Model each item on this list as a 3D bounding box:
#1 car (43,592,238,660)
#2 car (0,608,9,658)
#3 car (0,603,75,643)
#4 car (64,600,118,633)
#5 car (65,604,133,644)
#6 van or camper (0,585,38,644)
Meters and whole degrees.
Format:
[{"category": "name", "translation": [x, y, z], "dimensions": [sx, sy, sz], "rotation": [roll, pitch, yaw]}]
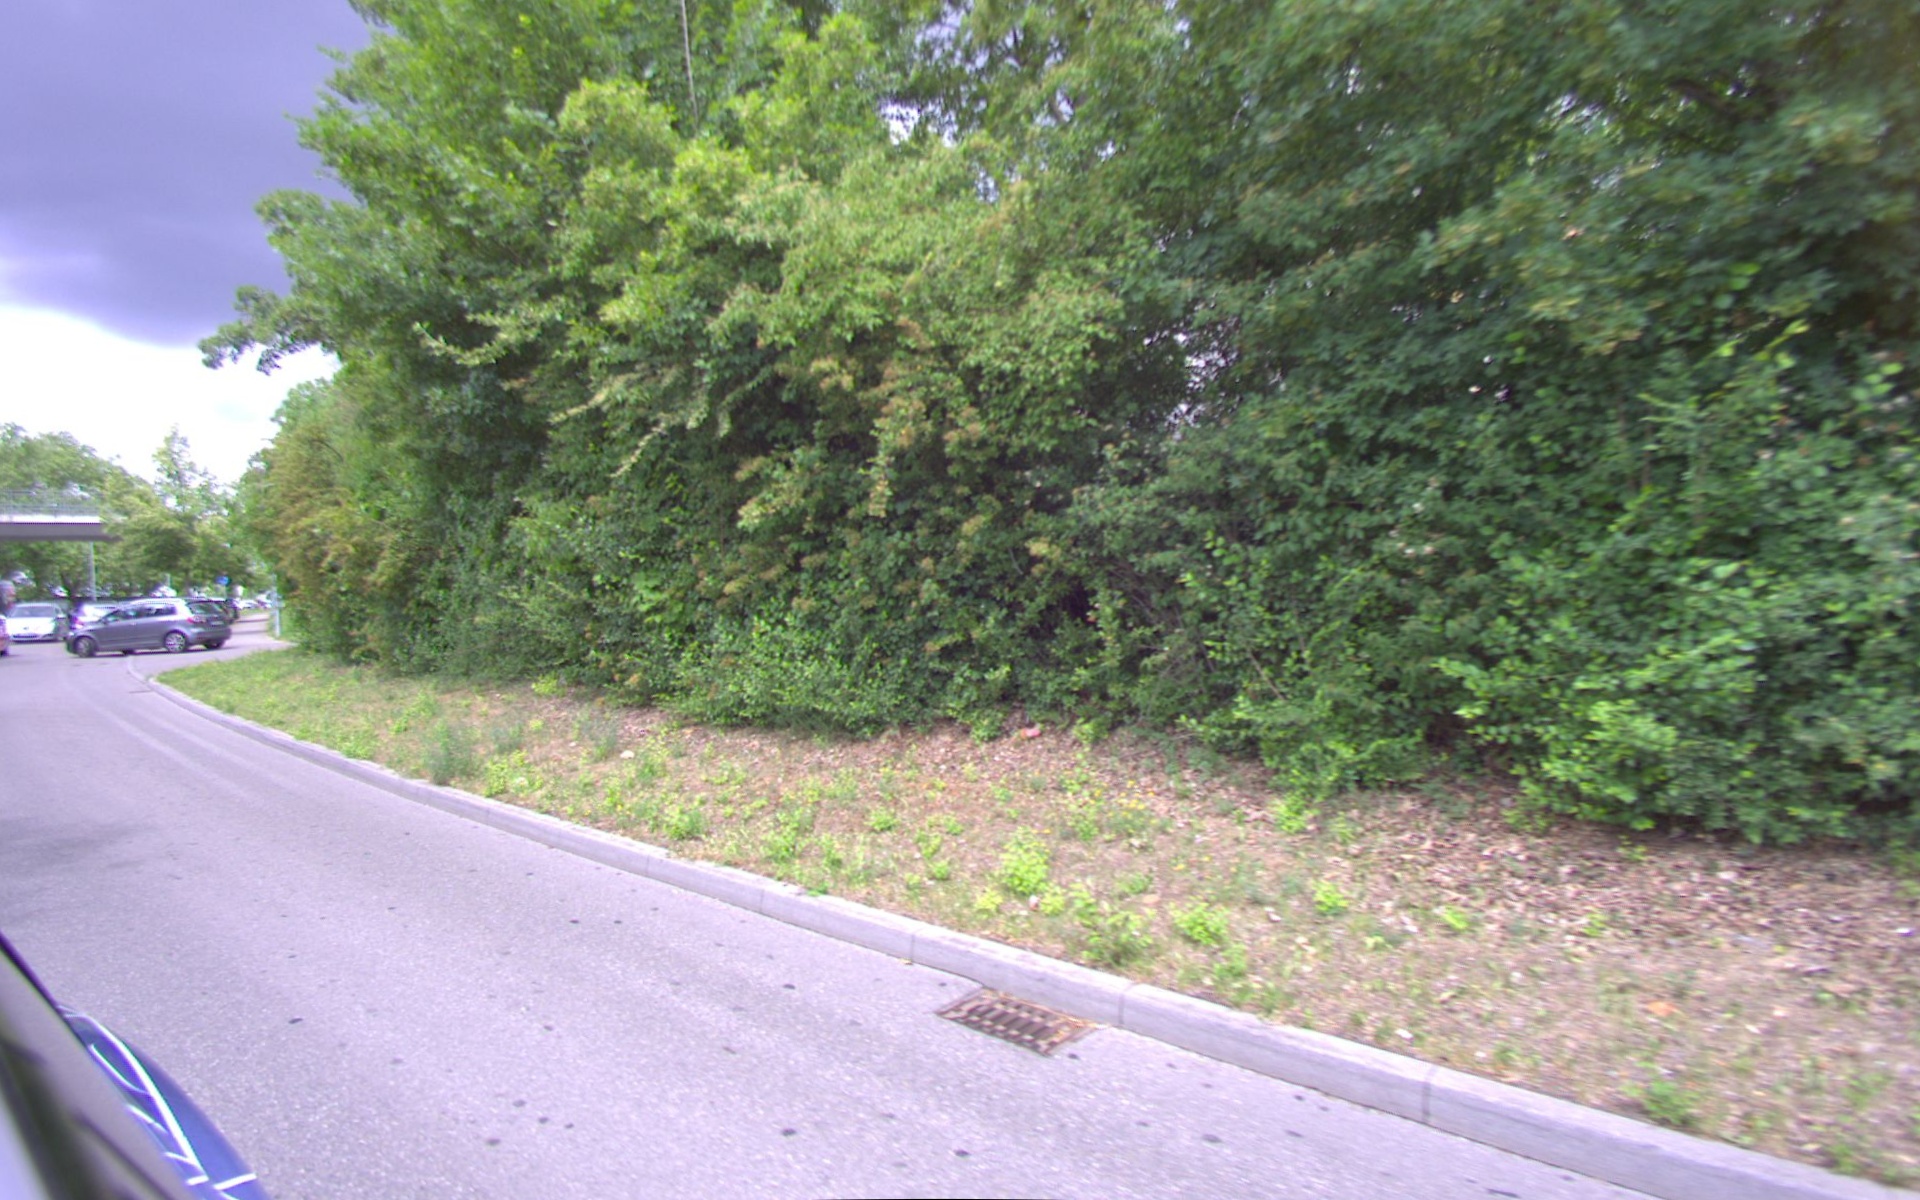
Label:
[{"category": "car", "translation": [-23.932, 0.727, 29.703], "dimensions": [4.054, 1.674, 1.761], "rotation": [-3, 1, -8]}, {"category": "car", "translation": [-29.156, 0.988, 29.479], "dimensions": [1.834, 1.453, 4.007], "rotation": [-2, 1, -40]}, {"category": "car", "translation": [-37.260, 0.905, 40.818], "dimensions": [1.752, 1.463, 4.011], "rotation": [-1, 1, -33]}, {"category": "car", "translation": [-46.501, 0.915, 54.216], "dimensions": [1.752, 1.431, 4.009], "rotation": [5, -7, -36]}, {"category": "car", "translation": [-34.631, 0.918, 40.786], "dimensions": [1.817, 1.467, 3.661], "rotation": [-1, 1, -36]}, {"category": "van or camper", "translation": [-43.085, 0.635, 45.149], "dimensions": [1.967, 2.514, 5.774], "rotation": [-1, 1, -34]}]
